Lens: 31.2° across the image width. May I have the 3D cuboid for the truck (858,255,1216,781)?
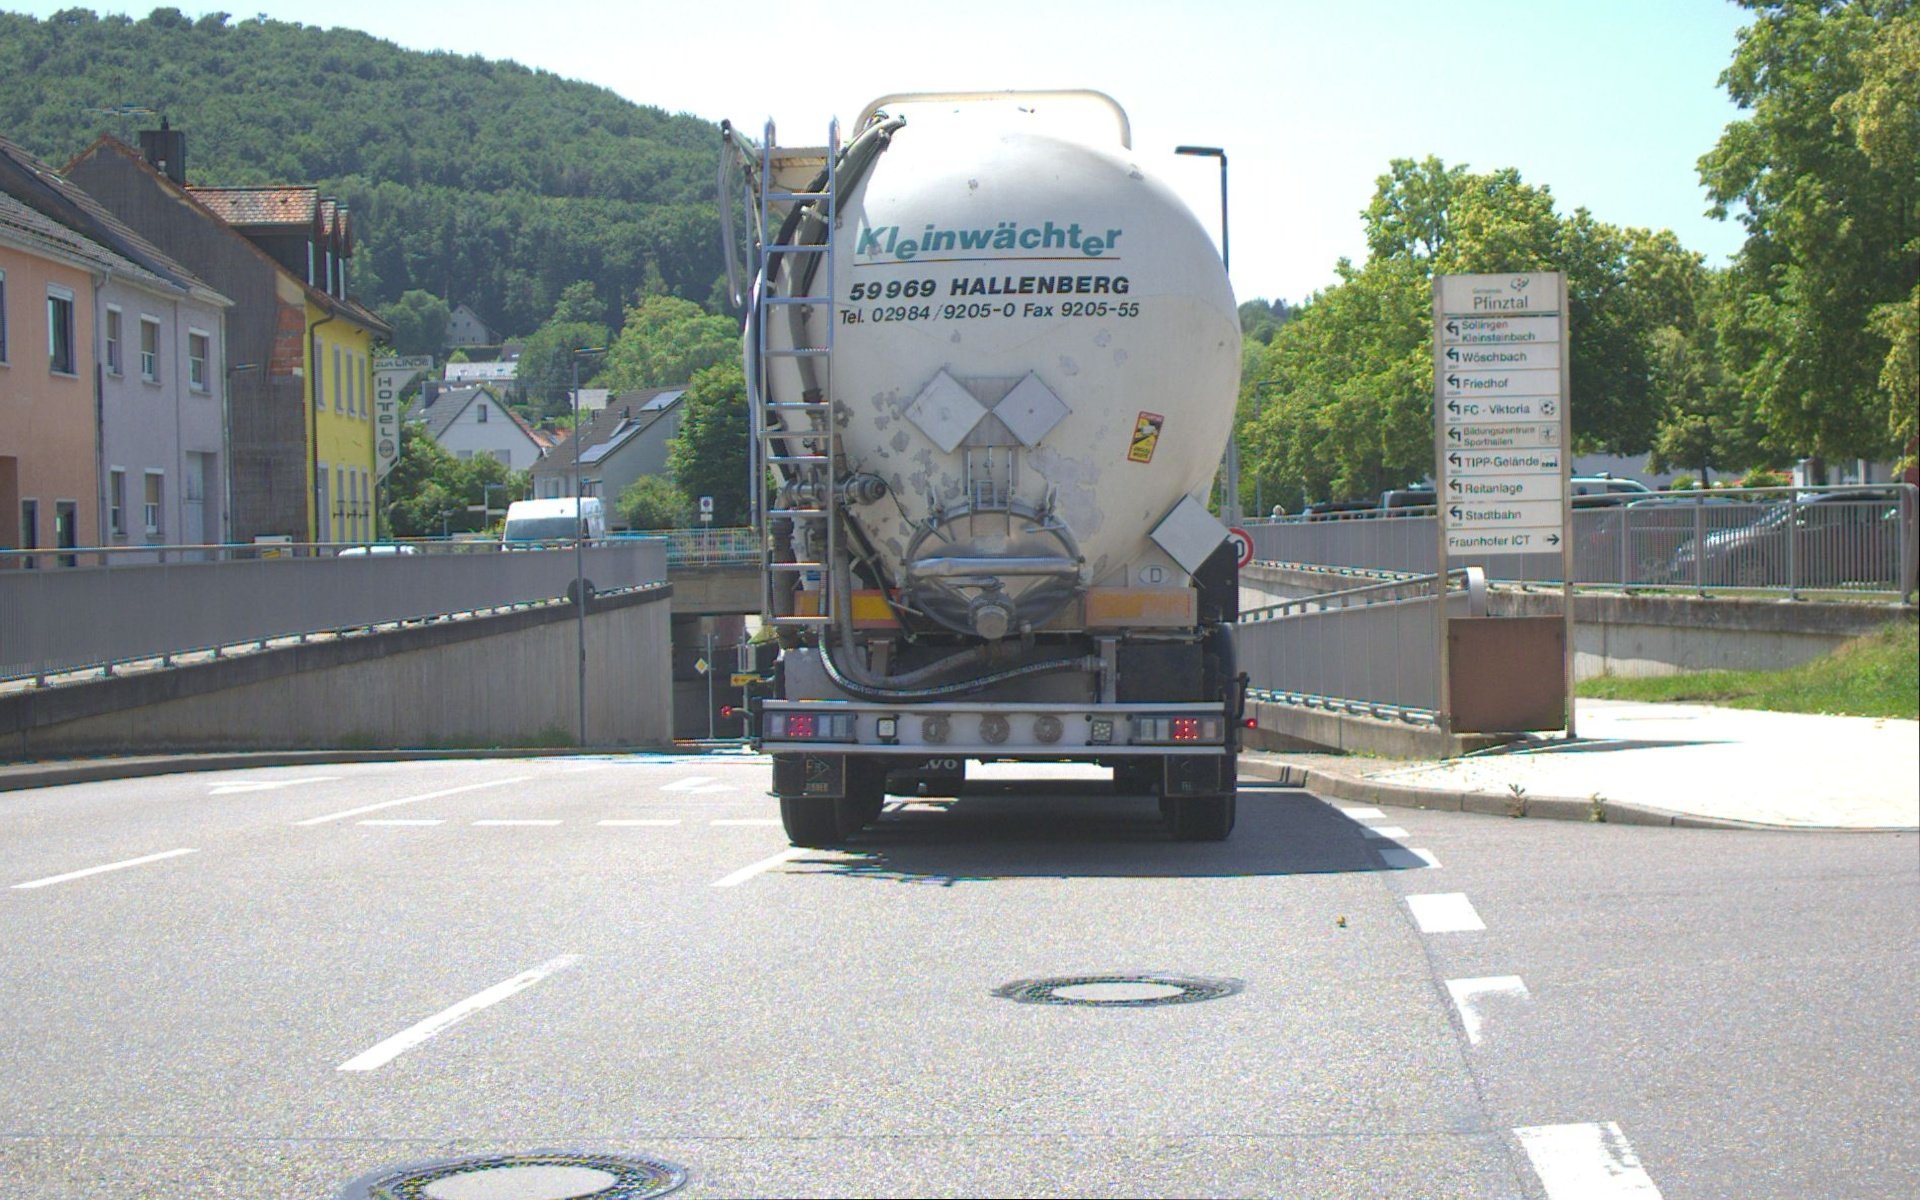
[{"bbox_3d":[0.767,-0.593,29.983,2.735,4.051,6.528,-1,-1,3],"label":"truck"}]

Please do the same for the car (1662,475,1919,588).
[{"bbox_3d":[11.961,-0.956,47.955,3.987,1.493,1.748,-1,1,2],"label":"car"}]

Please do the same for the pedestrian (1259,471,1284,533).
[{"bbox_3d":[9.114,-2.858,100.552,0.673,1.773,0.594,-1,0,2],"label":"pedestrian"}]

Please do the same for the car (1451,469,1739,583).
[{"bbox_3d":[12.018,-1.399,65.345,5.112,2.056,1.988,-1,1,2],"label":"car"}]

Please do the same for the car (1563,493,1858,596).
[{"bbox_3d":[11.580,-0.855,53.236,4.204,1.493,1.686,-1,1,2],"label":"car"}]

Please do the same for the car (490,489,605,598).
[{"bbox_3d":[-9.927,-1.358,83.129,2.065,2.528,5.661,1,1,0],"label":"car"}]

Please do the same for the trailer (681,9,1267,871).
[{"bbox_3d":[0.413,-0.670,22.950,2.735,4.051,13.310,-1,-1,3],"label":"trailer"}]

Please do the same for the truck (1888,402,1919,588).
[{"bbox_3d":[13.062,-1.305,41.755,2.132,2.326,5.260,-1,1,0],"label":"truck"}]

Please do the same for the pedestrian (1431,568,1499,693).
[{"bbox_3d":[7.265,0.442,49.445,0.836,1.776,0.788,-1,-2,1],"label":"pedestrian"}]
